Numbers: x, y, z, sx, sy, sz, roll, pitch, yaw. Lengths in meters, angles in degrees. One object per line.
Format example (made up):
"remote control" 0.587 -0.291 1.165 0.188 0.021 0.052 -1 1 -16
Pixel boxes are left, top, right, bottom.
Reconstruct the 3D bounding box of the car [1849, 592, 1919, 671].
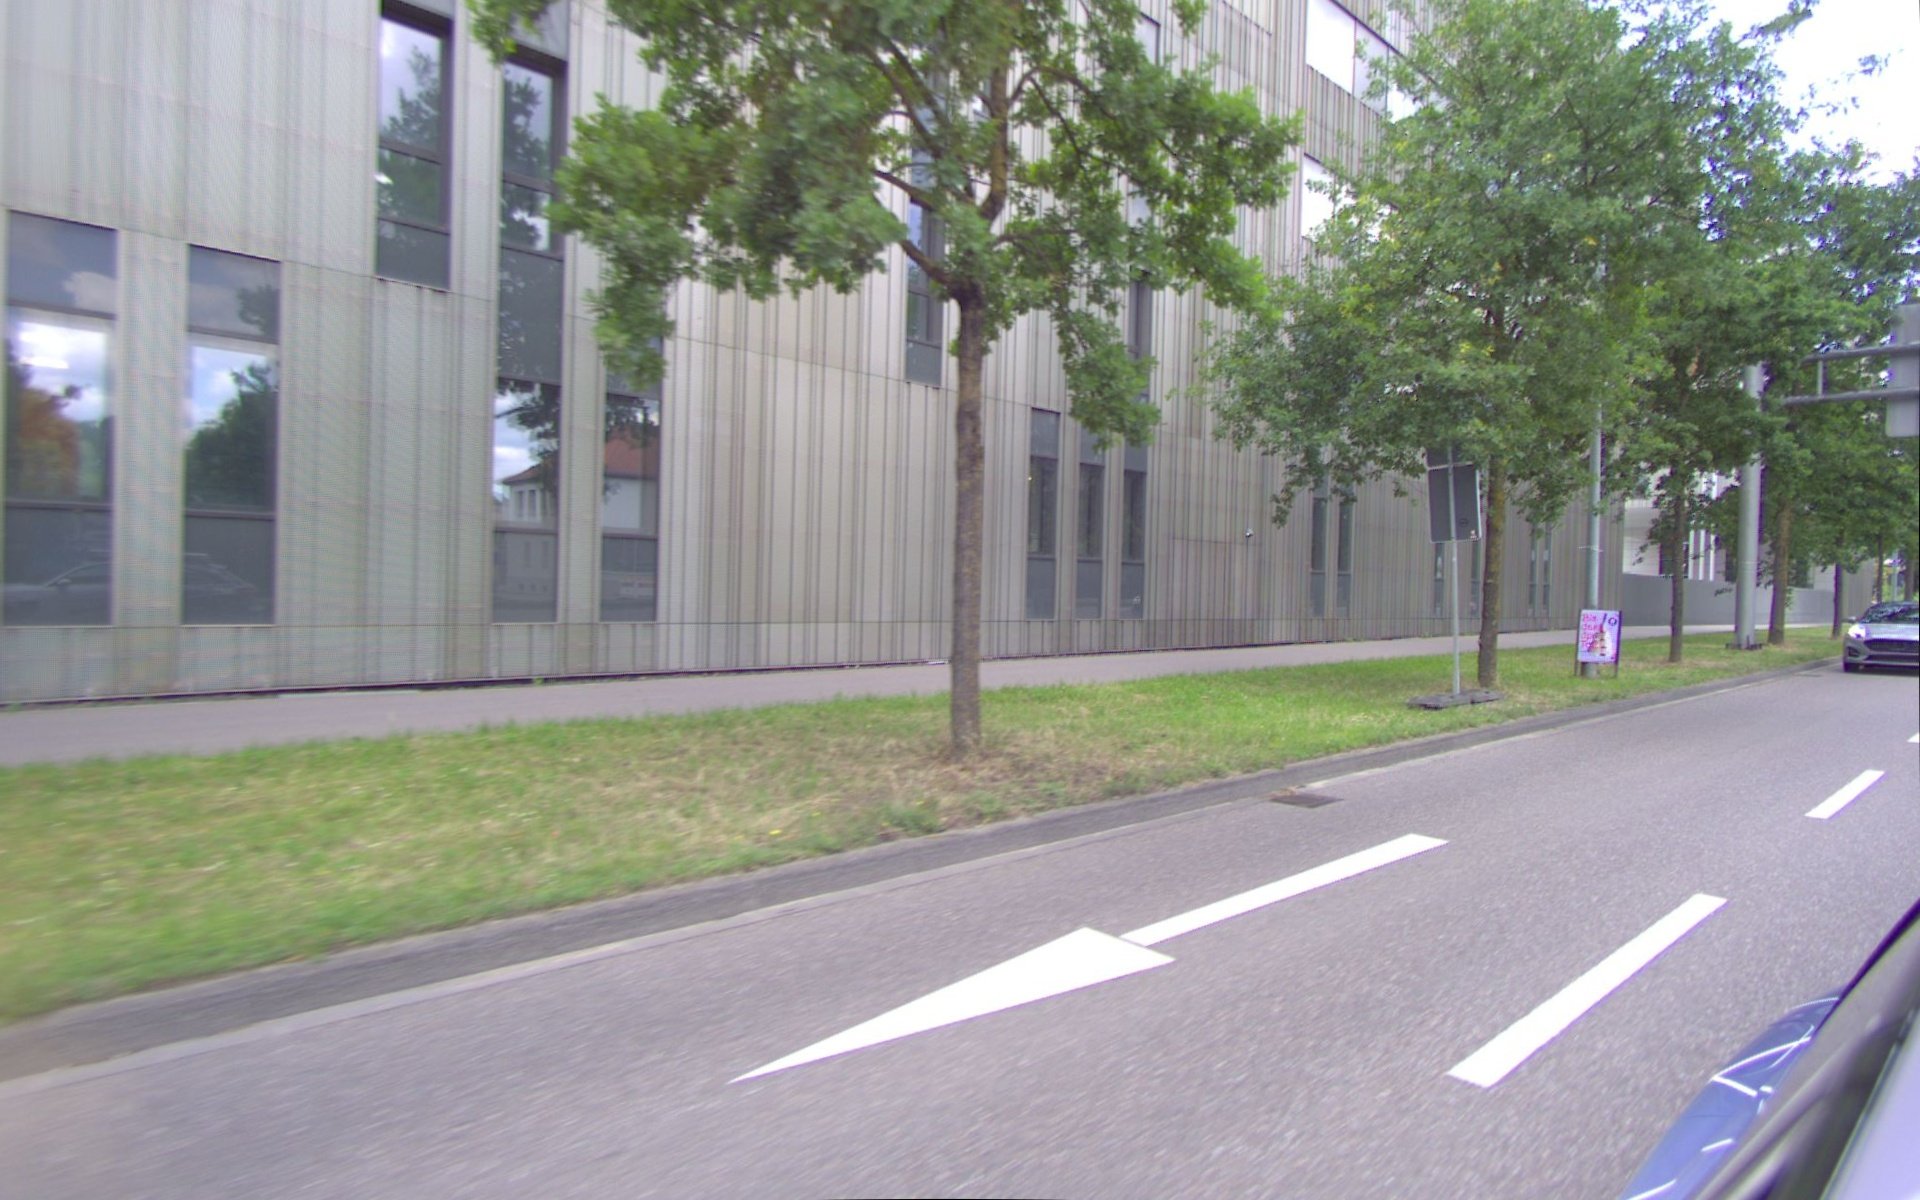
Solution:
"car" 20.695 0.644 21.817 3.885 1.594 1.822 0 0 -41
